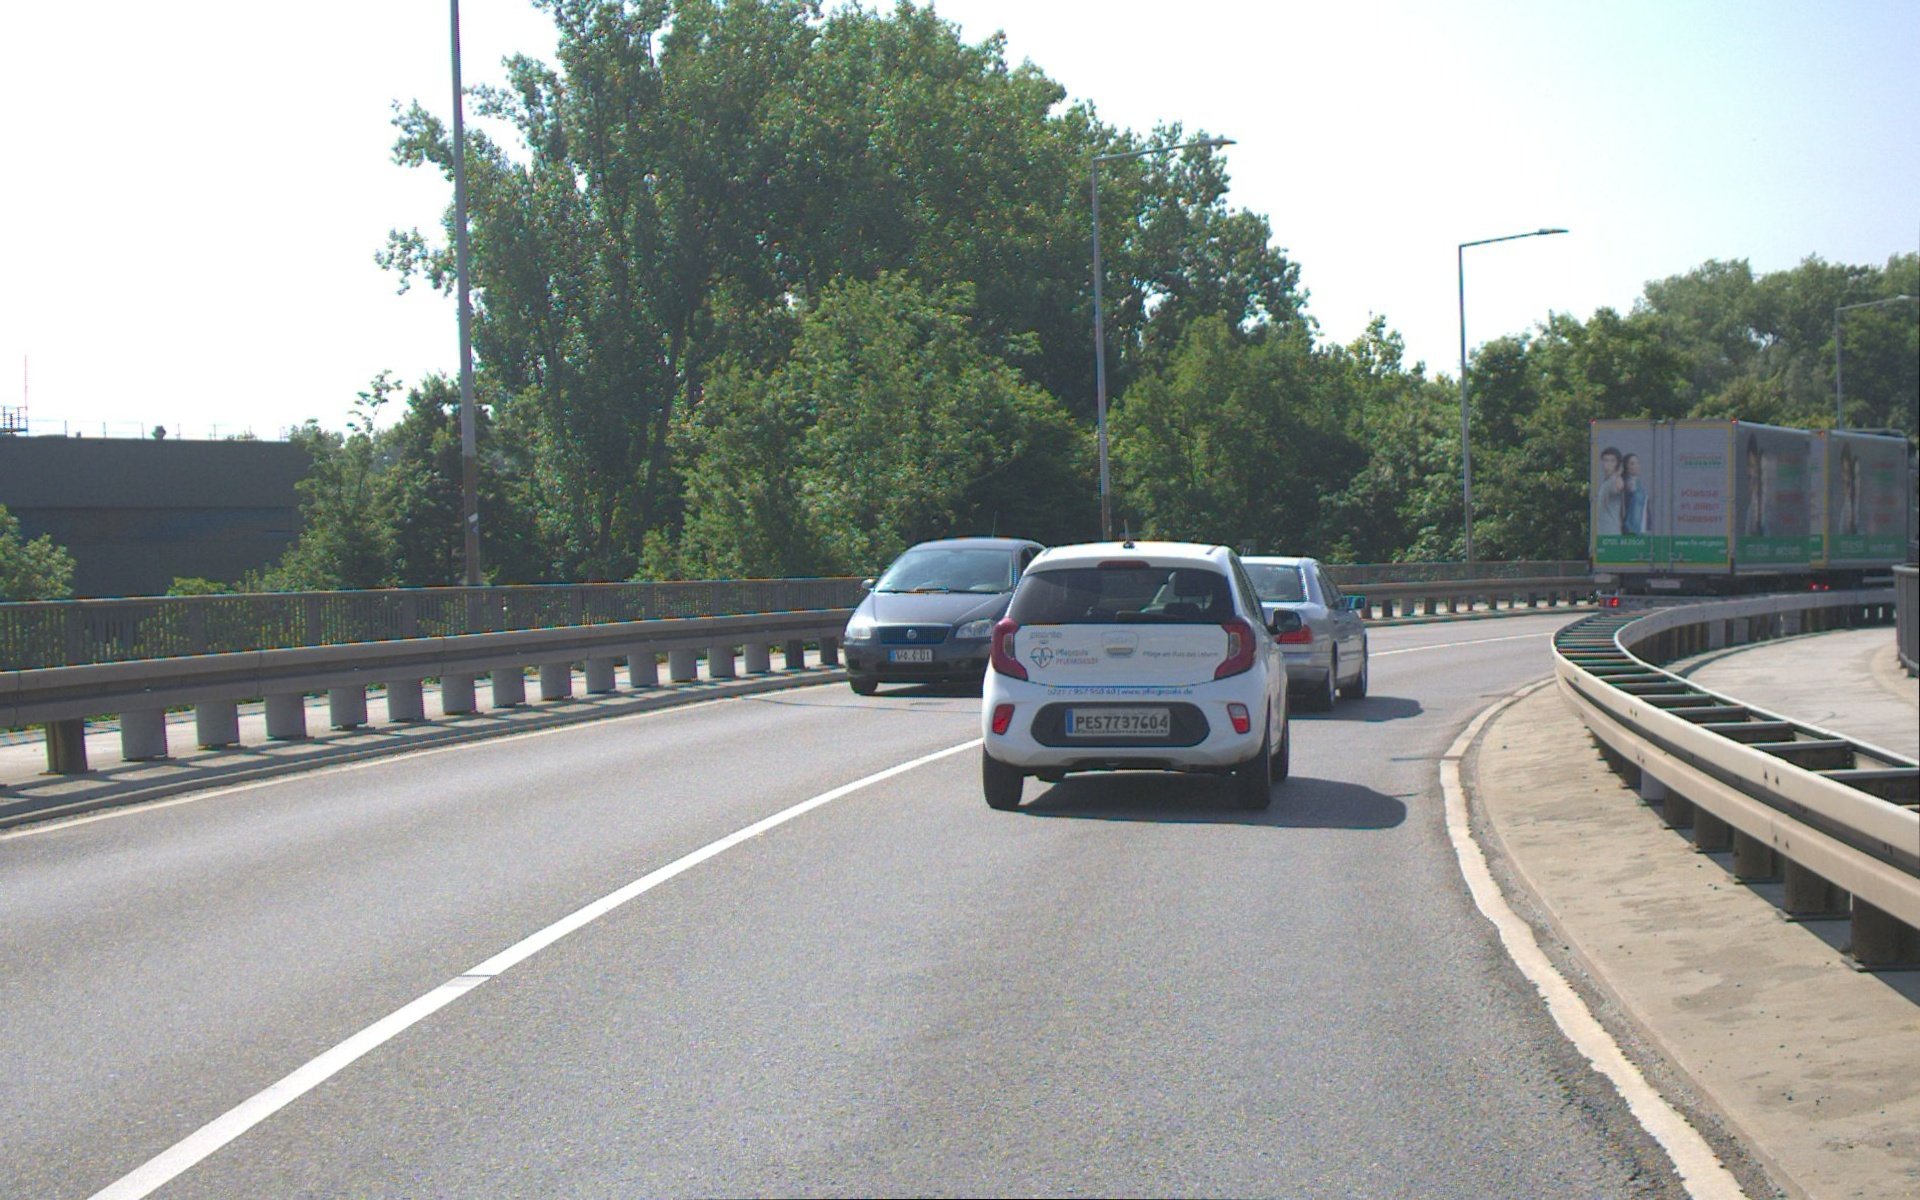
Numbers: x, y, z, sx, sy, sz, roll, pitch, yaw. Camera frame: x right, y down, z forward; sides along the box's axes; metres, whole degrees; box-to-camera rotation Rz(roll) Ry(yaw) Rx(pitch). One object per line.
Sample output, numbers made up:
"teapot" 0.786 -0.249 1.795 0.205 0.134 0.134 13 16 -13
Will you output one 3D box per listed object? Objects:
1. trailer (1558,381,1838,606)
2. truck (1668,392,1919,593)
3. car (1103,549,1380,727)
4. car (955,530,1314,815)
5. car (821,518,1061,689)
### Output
"trailer" 13.501 -1.962 62.355 3.229 3.745 7.815 3 3 25
"truck" 17.030 -2.190 69.389 3.265 3.745 8.359 3 3 26
"car" 2.711 0.286 32.027 1.940 1.481 4.897 1 1 12
"car" 1.135 0.401 20.481 1.702 1.489 3.998 1 0 9
"car" -0.125 -0.012 35.623 1.733 1.619 4.302 0 2 10
